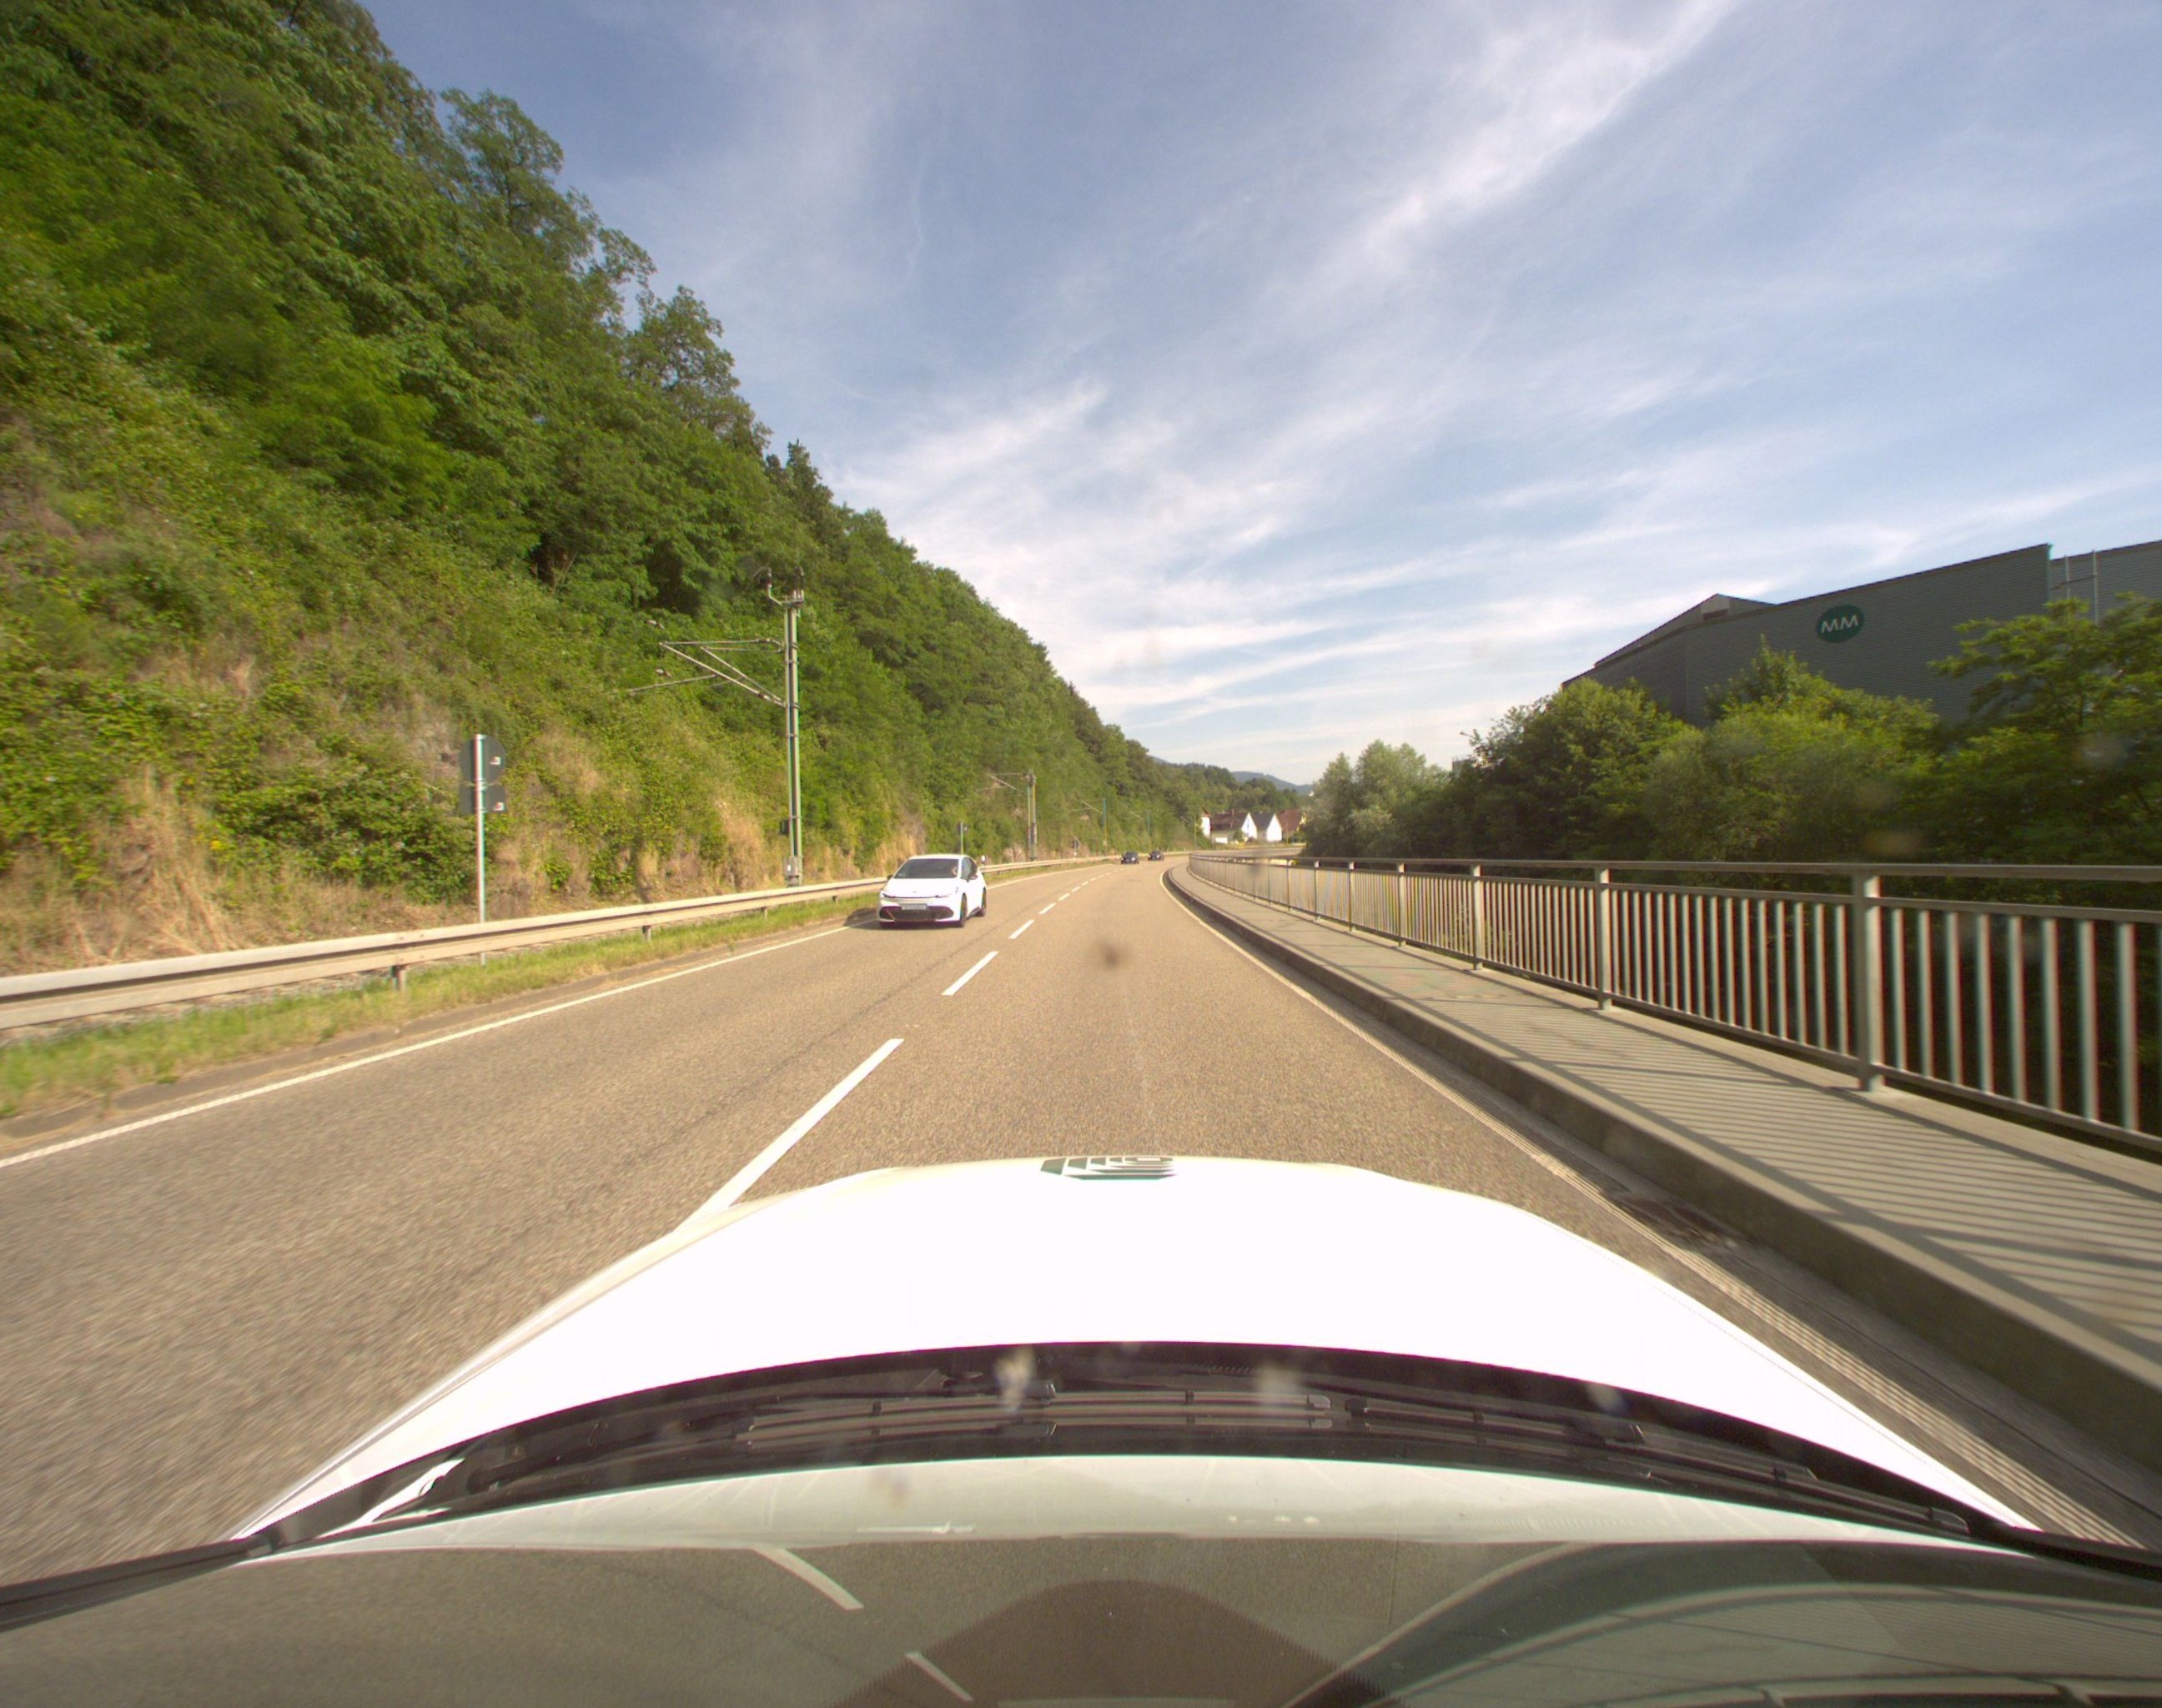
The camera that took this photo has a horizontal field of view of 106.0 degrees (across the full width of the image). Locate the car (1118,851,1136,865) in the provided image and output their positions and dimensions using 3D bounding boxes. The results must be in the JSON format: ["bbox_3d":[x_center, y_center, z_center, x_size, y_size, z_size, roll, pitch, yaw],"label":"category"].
[{"bbox_3d":[5.427,0.468,95.233,1.837,1.440,3.904,-3,0,6],"label":"car"}]

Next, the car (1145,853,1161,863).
[{"bbox_3d":[10.413,0.521,117.439,1.835,1.402,4.491,-1,0,12],"label":"car"}]

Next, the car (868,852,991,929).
[{"bbox_3d":[-3.295,0.732,18.688,1.840,1.544,4.605,0,0,1],"label":"car"}]
